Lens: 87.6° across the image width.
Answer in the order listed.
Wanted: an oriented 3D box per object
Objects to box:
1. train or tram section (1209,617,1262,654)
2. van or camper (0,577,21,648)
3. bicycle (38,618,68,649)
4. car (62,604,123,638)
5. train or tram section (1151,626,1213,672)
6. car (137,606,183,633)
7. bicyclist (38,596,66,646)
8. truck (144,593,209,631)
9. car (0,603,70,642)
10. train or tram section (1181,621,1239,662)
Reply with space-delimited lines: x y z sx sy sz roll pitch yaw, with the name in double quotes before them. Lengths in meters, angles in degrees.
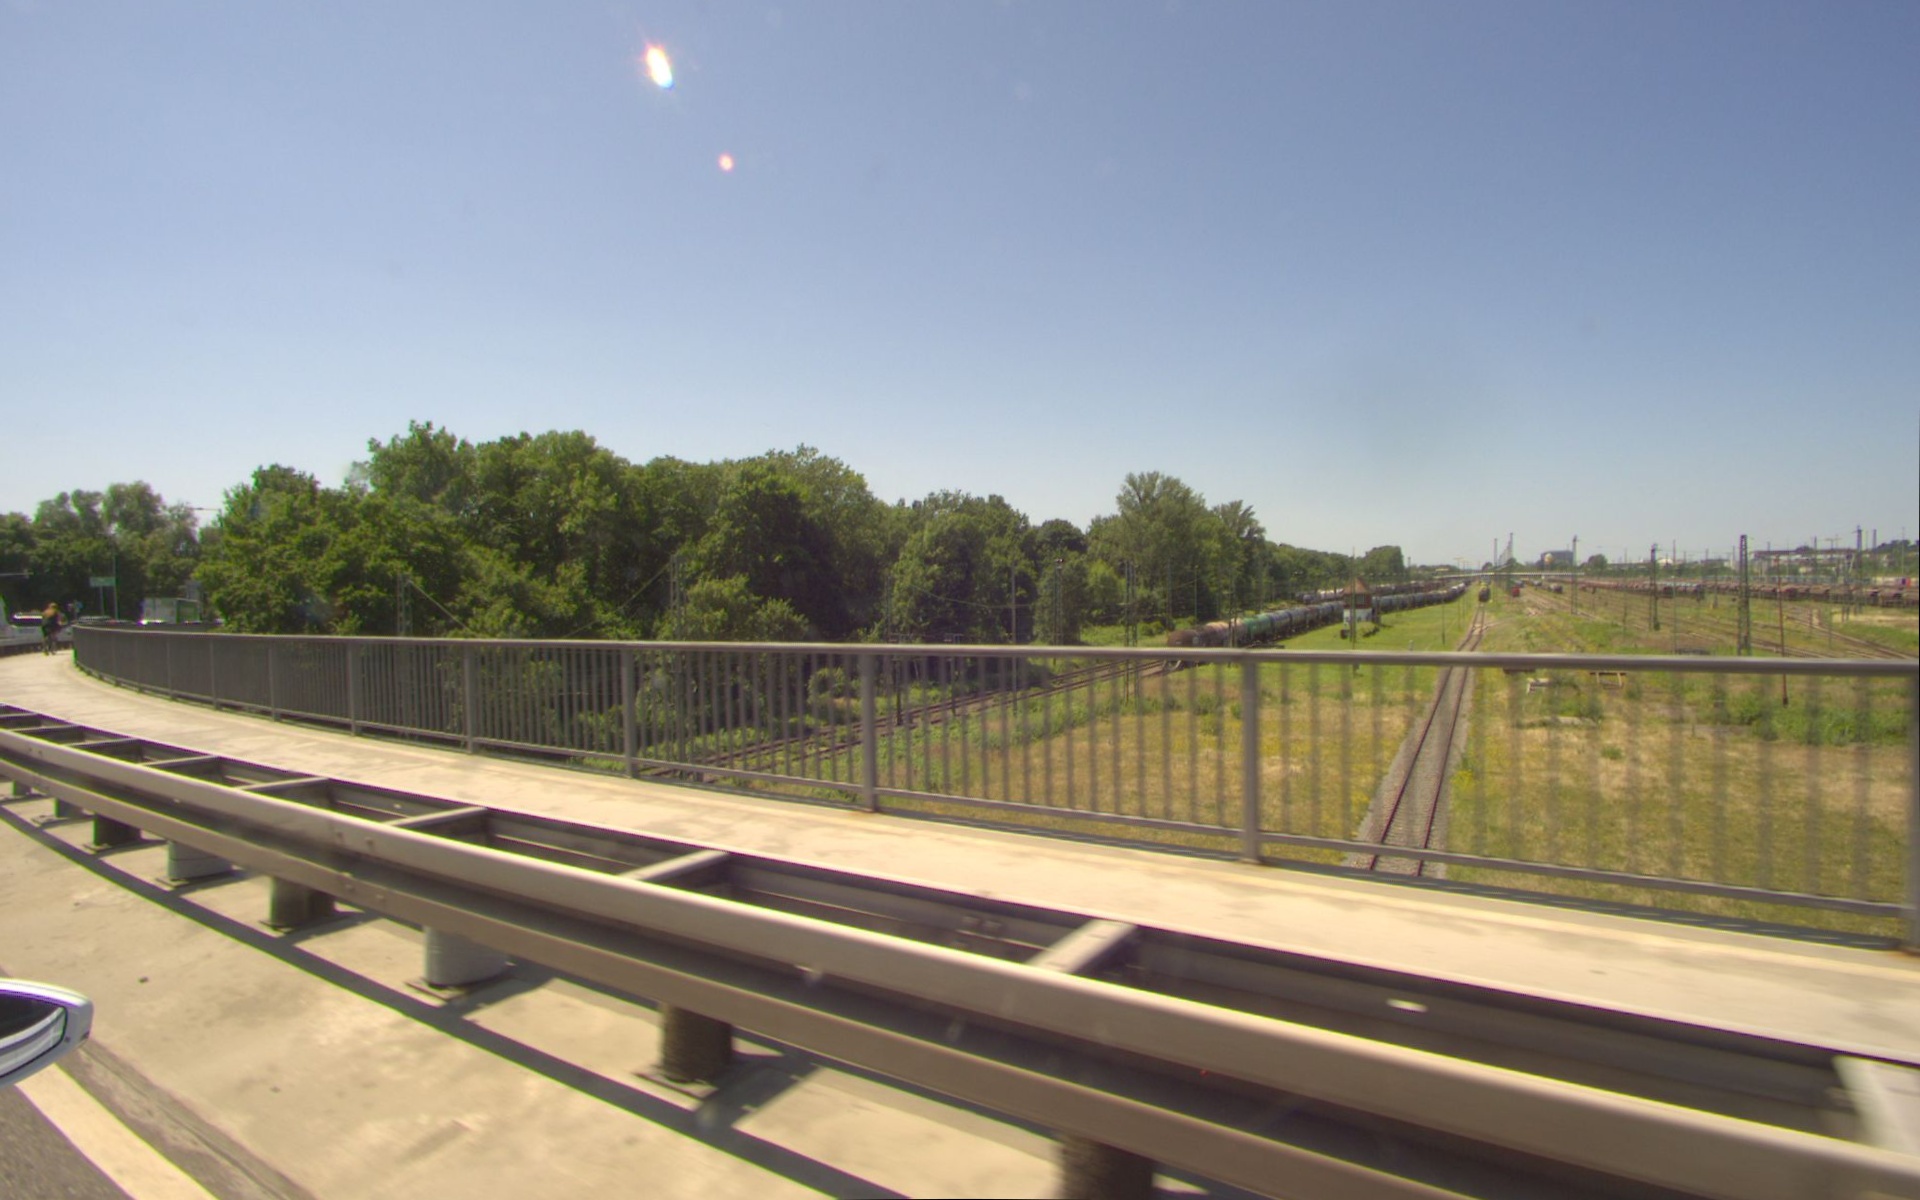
"train or tram section" 38.610 4.859 139.877 3.795 4.365 13.564 -2 1 30
"van or camper" -40.457 0.503 40.933 2.134 2.852 6.343 1 -1 -35
"bicycle" -31.871 1.153 35.194 0.576 1.049 1.474 -3 1 -35
"car" -49.015 1.185 56.665 1.700 1.826 3.983 1 -1 -27
"train or tram section" 25.854 5.532 115.905 3.791 4.365 13.579 -2 1 26
"car" -55.987 1.353 70.137 1.700 1.868 3.984 1 -1 -26
"bicyclist" -31.871 0.742 35.168 0.572 1.705 0.724 -3 2 -36
"truck" -63.192 0.969 80.905 2.302 2.911 5.926 1 -1 -20
"car" -45.457 1.088 49.266 1.702 1.868 3.978 1 0 -31
"train or tram section" 32.082 5.202 128.015 3.794 4.365 13.567 -2 1 29
